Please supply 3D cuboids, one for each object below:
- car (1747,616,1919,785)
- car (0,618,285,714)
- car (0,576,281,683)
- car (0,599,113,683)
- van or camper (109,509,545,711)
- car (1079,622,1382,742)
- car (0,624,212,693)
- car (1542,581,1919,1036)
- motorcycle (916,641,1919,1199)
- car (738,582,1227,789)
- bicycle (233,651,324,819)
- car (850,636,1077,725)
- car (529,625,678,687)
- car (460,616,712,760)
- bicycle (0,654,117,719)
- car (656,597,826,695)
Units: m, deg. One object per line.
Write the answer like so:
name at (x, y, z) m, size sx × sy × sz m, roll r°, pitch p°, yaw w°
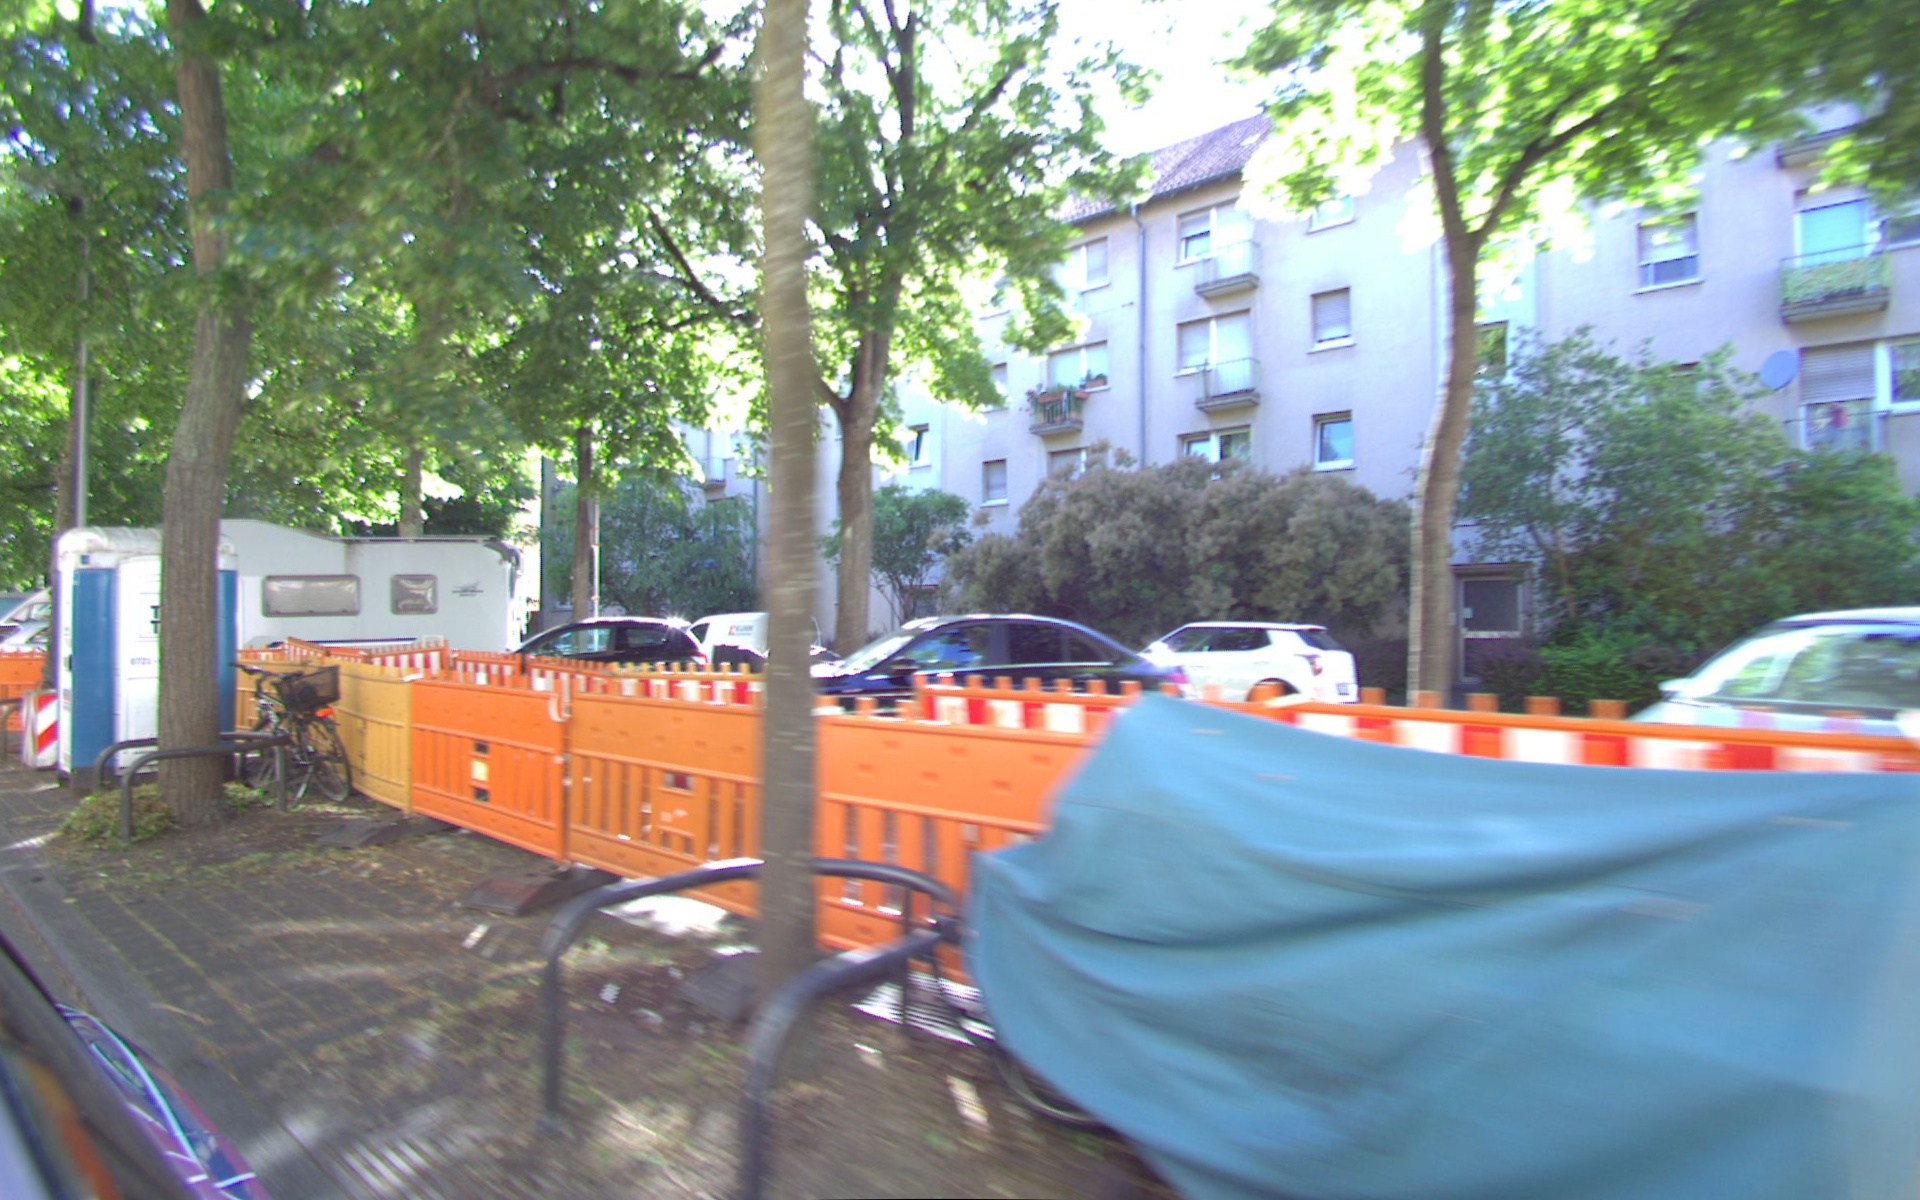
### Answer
car at (10.294, 0.955, 9.791) m, size 4.188 × 1.586 × 1.605 m, roll -2°, pitch -1°, yaw 39°
car at (-14.991, 1.176, 18.672) m, size 3.930 × 1.629 × 1.803 m, roll 1°, pitch -2°, yaw -24°
car at (-21.090, 0.760, 25.640) m, size 6.094 × 2.530 × 2.145 m, roll 1°, pitch -2°, yaw -22°
car at (-25.672, 1.086, 26.996) m, size 4.322 × 2.184 × 1.776 m, roll 1°, pitch -2°, yaw -22°
van or camper at (-10.381, 0.227, 17.363) m, size 5.929 × 3.025 × 2.407 m, roll 1°, pitch -2°, yaw -21°
car at (3.982, 1.140, 15.319) m, size 4.111 × 1.571 × 1.701 m, roll -2°, pitch -2°, yaw 41°
car at (-19.961, 1.300, 22.983) m, size 4.447 × 1.495 × 1.743 m, roll 1°, pitch -2°, yaw -19°
car at (4.587, 0.712, 4.588) m, size 3.846 × 1.472 × 1.582 m, roll 1°, pitch -2°, yaw -29°
motorcycle at (0.775, 0.779, 1.956) m, size 0.622 × 1.334 × 2.234 m, roll -1°, pitch -1°, yaw -34°
car at (0.129, 0.685, 8.848) m, size 3.932 × 1.530 × 1.675 m, roll 1°, pitch -2°, yaw -16°
bicycle at (-5.284, 0.985, 7.819) m, size 0.277 × 1.164 × 1.552 m, roll 2°, pitch -3°, yaw -44°
car at (-0.020, 1.403, 18.734) m, size 4.125 × 1.454 × 1.701 m, roll -2°, pitch -2°, yaw 41°
car at (-9.410, 1.430, 26.594) m, size 3.998 × 1.497 × 1.973 m, roll -2°, pitch -3°, yaw 41°
car at (-4.838, 1.094, 13.328) m, size 2.941 × 1.730 × 1.426 m, roll 0°, pitch -2°, yaw -17°
bicycle at (-15.232, 1.410, 16.447) m, size 2.345 × 0.986 × 0.502 m, roll 1°, pitch -2°, yaw -40°
car at (-5.064, 0.997, 23.076) m, size 4.266 × 2.029 × 1.603 m, roll -2°, pitch -1°, yaw 42°
